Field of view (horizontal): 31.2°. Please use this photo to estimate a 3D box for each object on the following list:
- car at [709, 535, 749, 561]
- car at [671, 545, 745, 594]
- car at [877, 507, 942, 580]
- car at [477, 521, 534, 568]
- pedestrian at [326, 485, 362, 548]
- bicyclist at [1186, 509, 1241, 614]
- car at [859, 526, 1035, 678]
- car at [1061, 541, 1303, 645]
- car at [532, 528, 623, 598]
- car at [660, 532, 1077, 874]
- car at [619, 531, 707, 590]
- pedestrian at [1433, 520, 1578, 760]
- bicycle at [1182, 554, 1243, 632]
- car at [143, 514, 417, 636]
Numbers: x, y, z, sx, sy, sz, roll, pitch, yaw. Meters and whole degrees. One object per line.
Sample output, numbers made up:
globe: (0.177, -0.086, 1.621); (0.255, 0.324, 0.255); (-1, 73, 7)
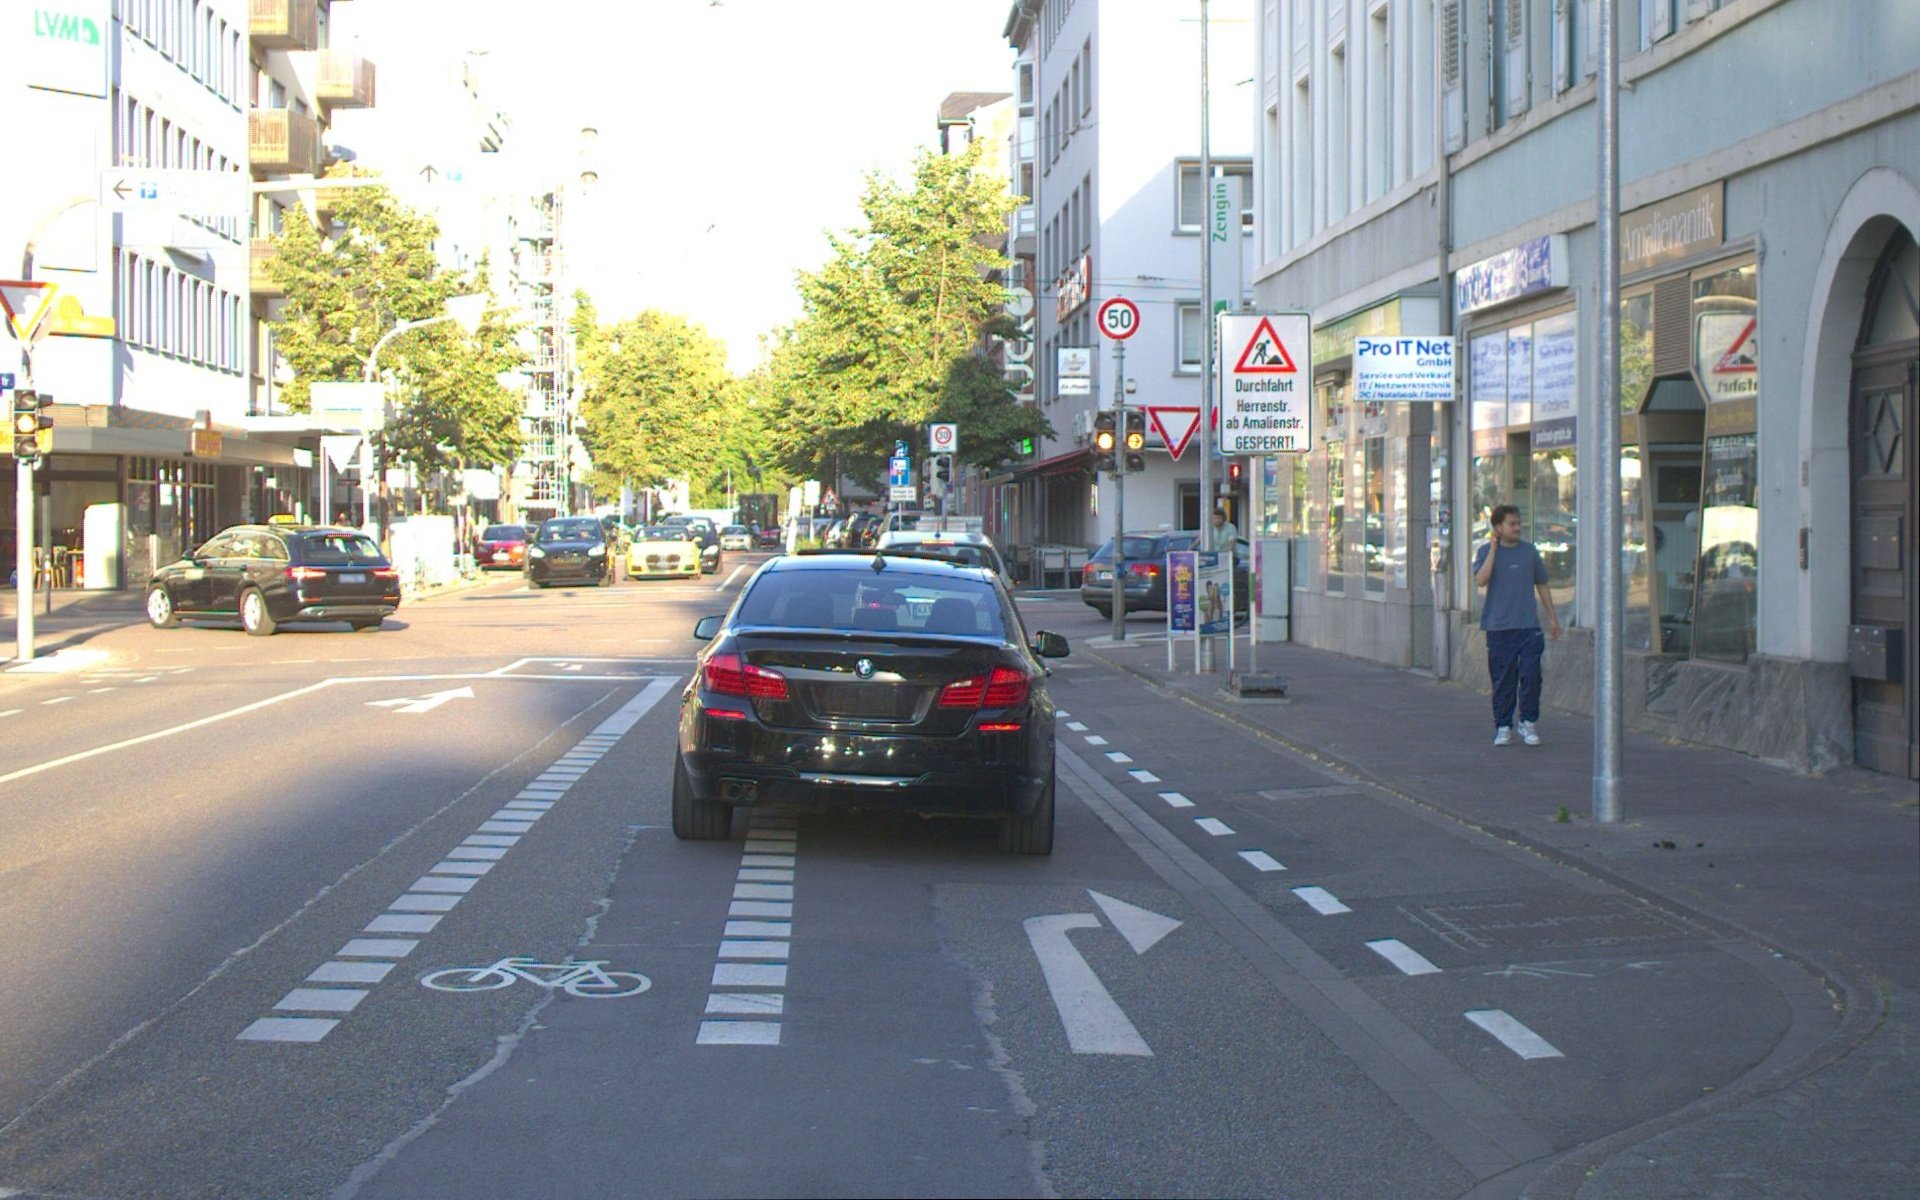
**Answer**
car: (-11.654, -2.631, 173.393); (1.733, 1.288, 4.001); (0, 1, -8)
car: (-6.846, -0.844, 93.112); (1.733, 1.288, 4.001); (0, 1, -8)
car: (-1.325, -1.472, 89.704); (1.421, 1.848, 3.053); (1, 1, -5)
car: (-14.243, -1.743, 107.593); (1.733, 1.456, 4.001); (0, 1, -8)
pedestrian: (-16.337, -2.209, 91.166); (0.823, 1.670, 0.871); (0, 1, -3)
bicyclist: (3.676, -0.563, 49.957); (0.722, 1.502, 0.900); (0, 1, -1)
car: (-0.172, -0.022, 37.993); (1.832, 1.570, 4.101); (0, 1, -1)
car: (3.557, -0.145, 54.554); (1.837, 1.570, 4.091); (1, 2, 38)
car: (-9.010, -0.890, 80.785); (1.993, 1.612, 4.001); (0, 1, -8)
car: (-0.556, 0.437, 18.189); (1.903, 1.535, 4.450); (1, 1, -3)
car: (-7.478, -1.004, 86.319); (1.993, 1.437, 4.001); (0, 1, -8)
pedestrian: (3.781, 0.264, 23.882); (0.823, 1.636, 0.871); (0, 1, -4)
bicycle: (3.671, -0.114, 50.054); (0.690, 1.103, 1.896); (0, 1, -2)
car: (-9.412, -0.384, 47.344); (1.873, 1.590, 4.448); (-1, 2, -38)
